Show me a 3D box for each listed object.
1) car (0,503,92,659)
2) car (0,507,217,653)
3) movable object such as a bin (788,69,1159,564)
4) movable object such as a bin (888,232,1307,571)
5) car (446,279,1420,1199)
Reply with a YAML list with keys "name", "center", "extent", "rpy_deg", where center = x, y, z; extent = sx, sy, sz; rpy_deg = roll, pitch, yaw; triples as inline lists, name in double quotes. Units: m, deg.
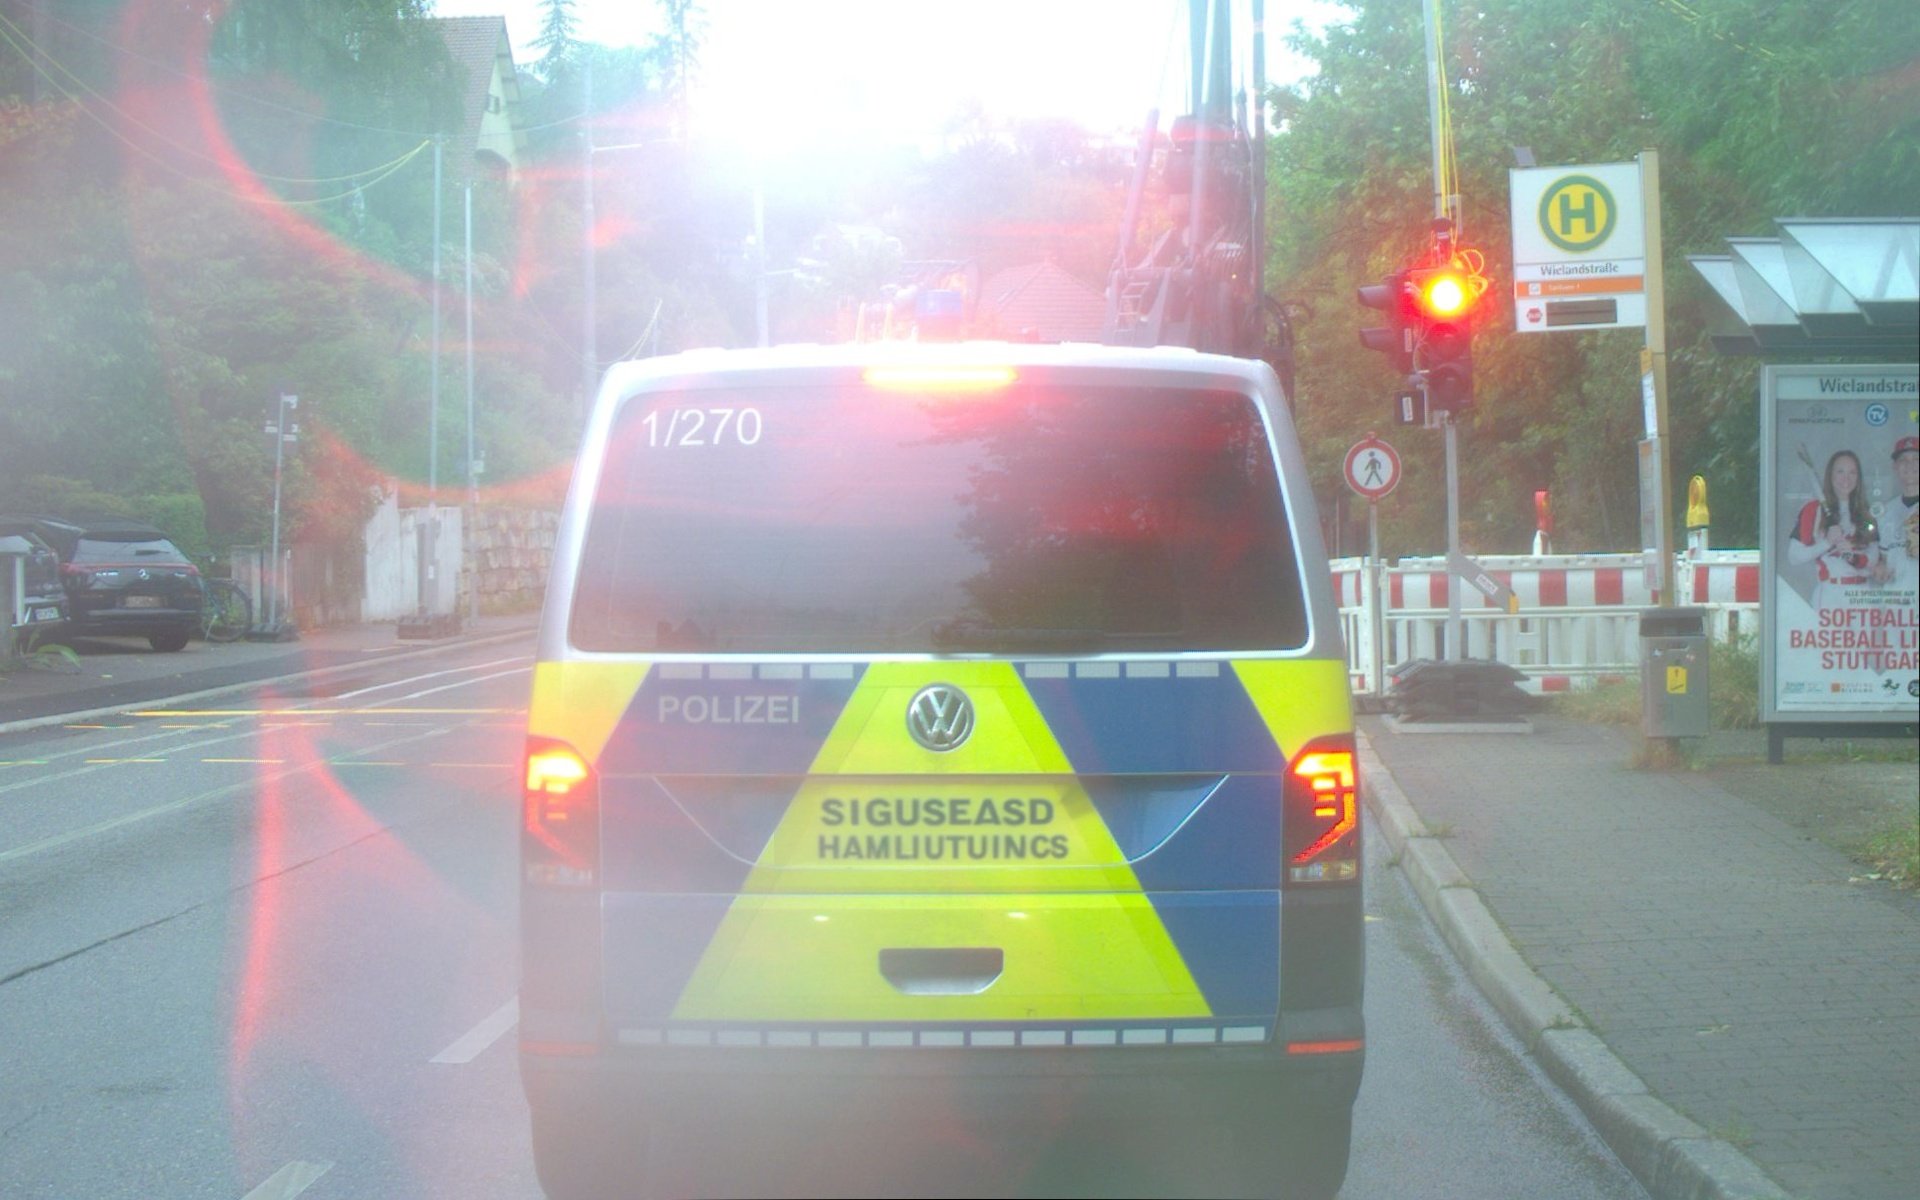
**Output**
- name: "car"
  center: [-11.101, -0.222, 34.883]
  extent: [3.989, 1.520, 1.940]
  rpy_deg: [1, 1, 13]
- name: "car"
  center: [-9.949, -0.245, 37.949]
  extent: [1.781, 1.520, 3.999]
  rpy_deg: [0, 1, -39]
- name: "movable object such as a bin"
  center: [0.239, -2.490, 31.619]
  extent: [2.879, 4.156, 4.486]
  rpy_deg: [-1, 2, 6]
- name: "movable object such as a bin"
  center: [2.361, -3.057, 55.835]
  extent: [3.689, 5.049, 7.150]
  rpy_deg: [-1, 0, 32]
- name: "car"
  center: [-0.080, 0.356, 9.047]
  extent: [1.908, 2.003, 4.440]
  rpy_deg: [1, 1, -1]
